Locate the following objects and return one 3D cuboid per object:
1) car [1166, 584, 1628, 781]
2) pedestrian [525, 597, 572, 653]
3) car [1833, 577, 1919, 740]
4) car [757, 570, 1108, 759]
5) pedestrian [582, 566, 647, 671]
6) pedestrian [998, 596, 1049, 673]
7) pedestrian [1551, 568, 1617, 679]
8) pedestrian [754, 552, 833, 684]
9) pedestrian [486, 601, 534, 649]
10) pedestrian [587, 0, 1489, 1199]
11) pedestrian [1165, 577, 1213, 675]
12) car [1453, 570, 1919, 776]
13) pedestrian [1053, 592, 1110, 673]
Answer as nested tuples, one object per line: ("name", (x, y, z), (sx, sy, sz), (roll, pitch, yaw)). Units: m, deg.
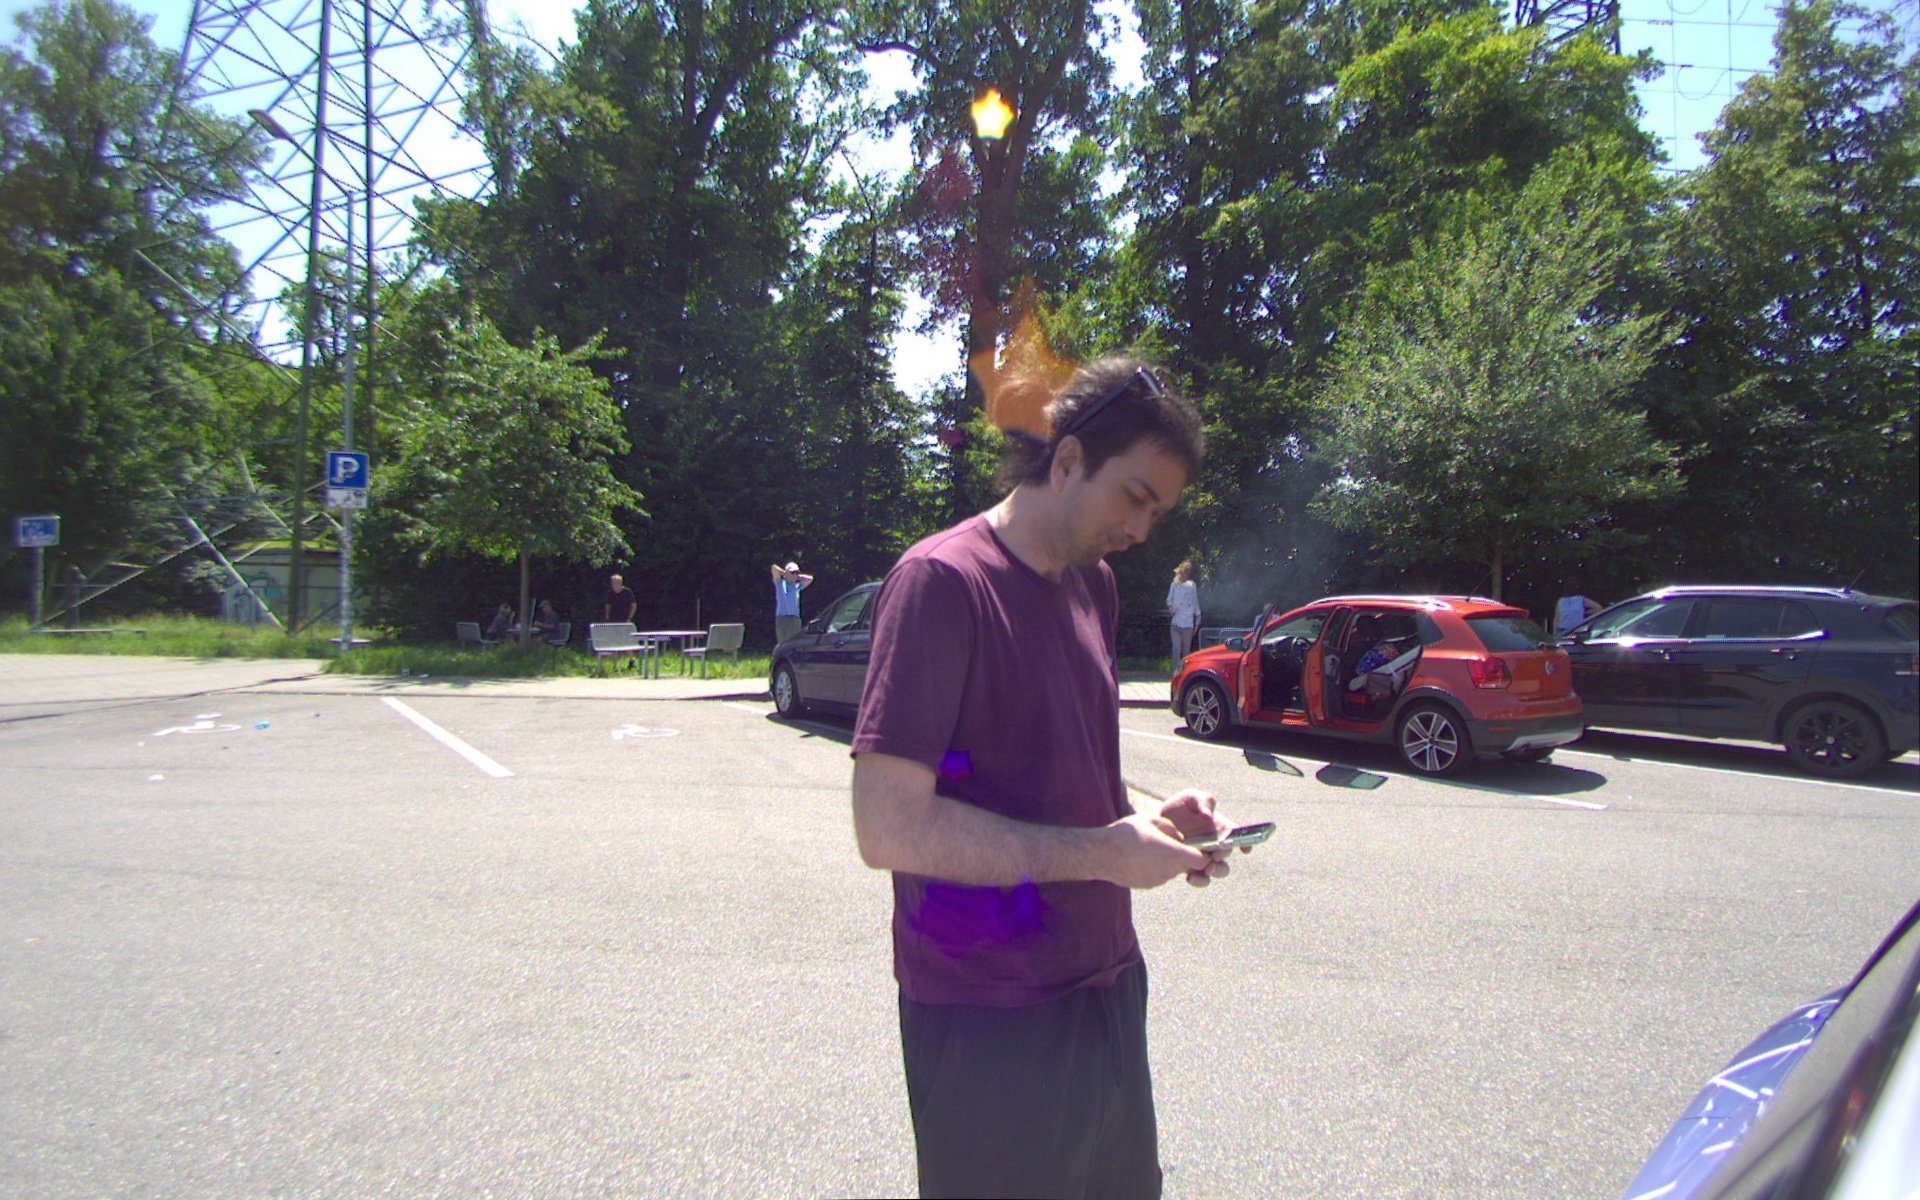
("car", (3.928, 0.617, 9.649), (1.746, 1.475, 3.710), (1, 0, -33))
("pedestrian", (-9.584, 0.573, 23.592), (0.796, 1.253, 0.713), (1, -1, -44))
("car", (10.930, 0.596, 9.385), (1.745, 1.612, 3.972), (1, 0, -32))
("car", (-0.483, 0.539, 10.697), (1.809, 1.588, 4.017), (1, 0, -35))
("pedestrian", (-6.270, 0.324, 18.404), (0.706, 1.851, 0.898), (0, -1, 20))
("pedestrian", (1.061, 0.574, 17.121), (0.656, 1.285, 0.655), (1, -1, -17))
("pedestrian", (9.404, 0.339, 15.249), (0.712, 1.614, 0.797), (0, -1, 42))
("pedestrian", (-2.352, 0.247, 14.279), (0.786, 1.784, 0.809), (1, -1, -39))
("pedestrian", (-10.216, 0.564, 22.972), (0.796, 1.062, 0.714), (1, -1, -43))
("pedestrian", (0.124, 0.444, 1.384), (0.828, 1.797, 0.926), (0, -1, 45))
("pedestrian", (3.895, 0.427, 17.178), (0.764, 1.614, 0.806), (0, -1, 15))
("car", (7.209, 0.571, 9.837), (1.807, 1.612, 3.967), (1, 0, -38))
("pedestrian", (2.015, 0.532, 16.875), (0.656, 1.311, 0.832), (1, -1, -17))
